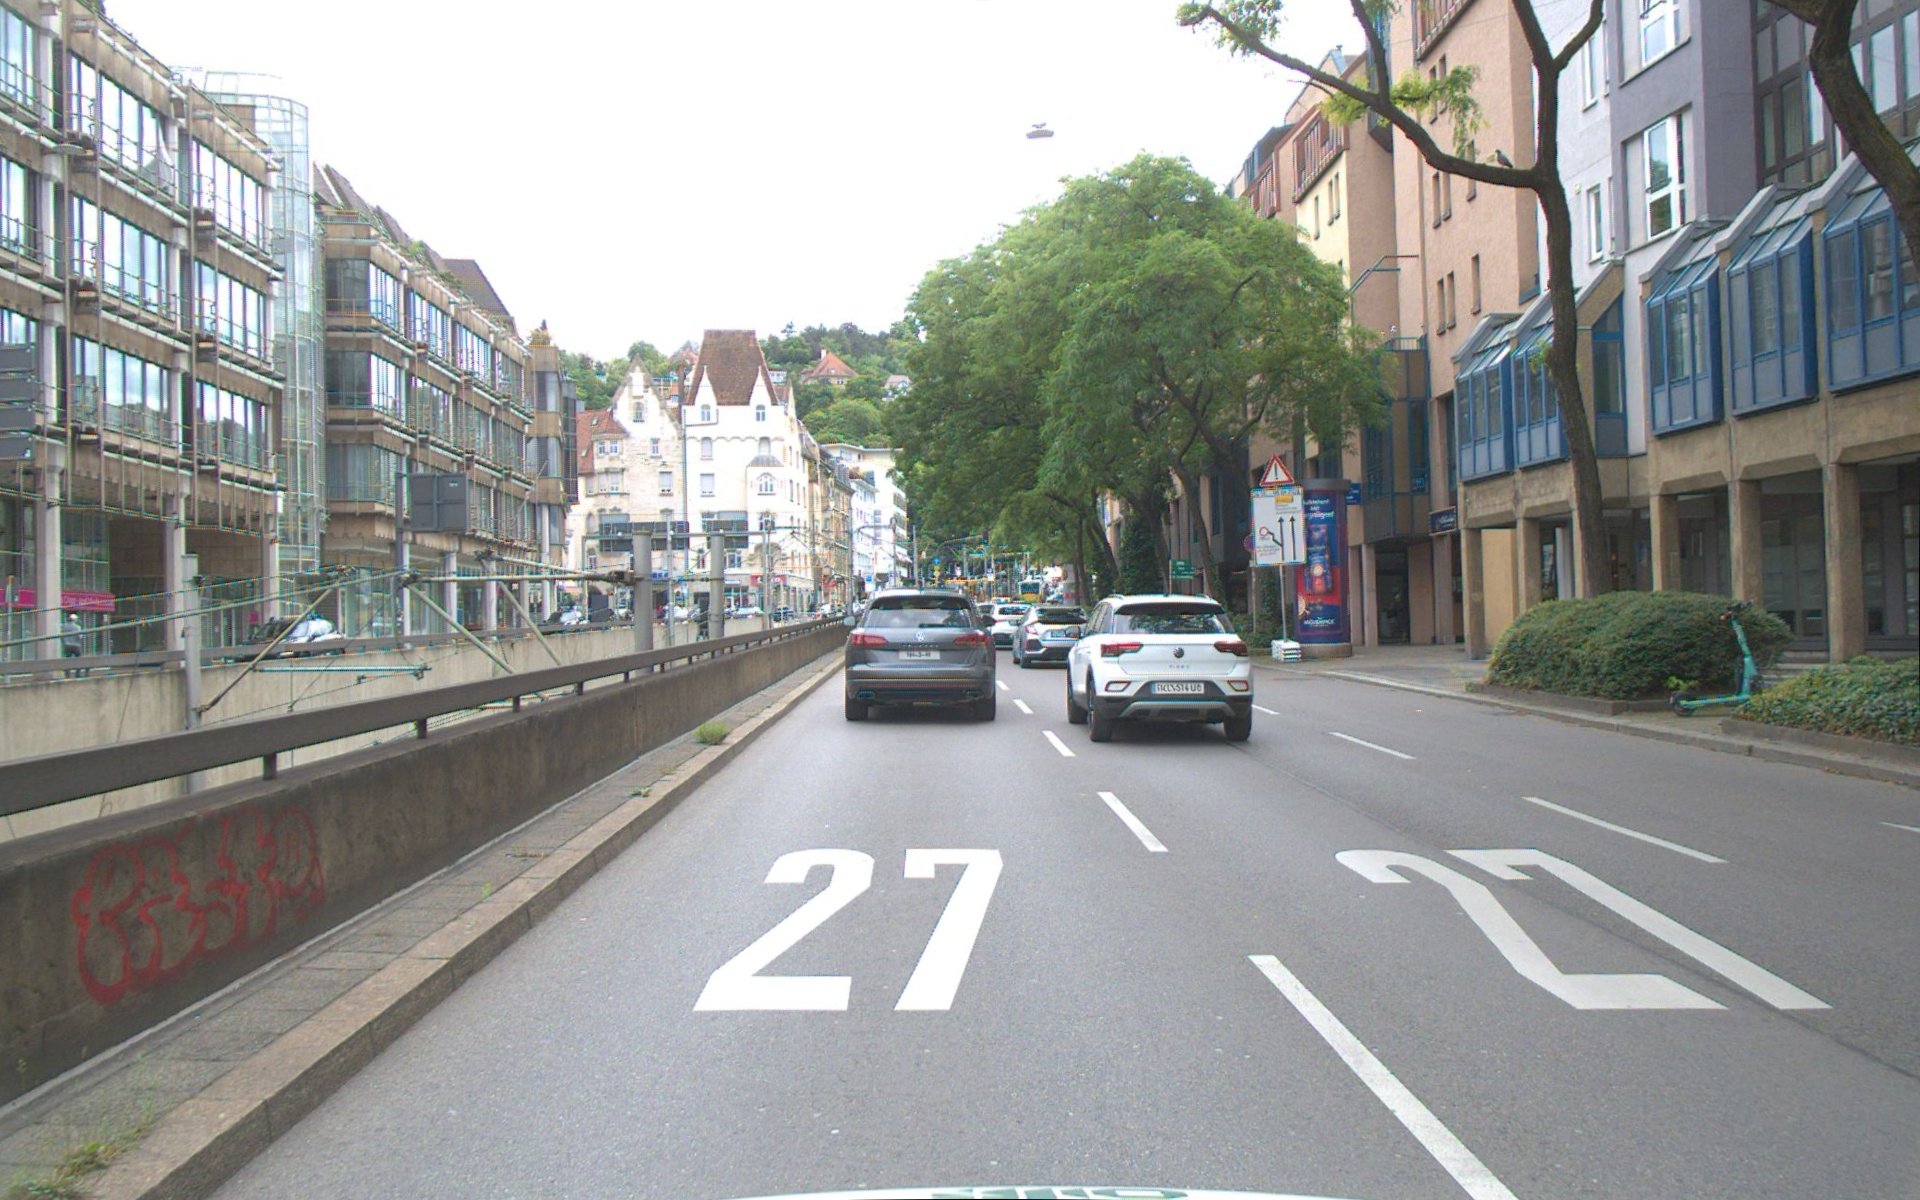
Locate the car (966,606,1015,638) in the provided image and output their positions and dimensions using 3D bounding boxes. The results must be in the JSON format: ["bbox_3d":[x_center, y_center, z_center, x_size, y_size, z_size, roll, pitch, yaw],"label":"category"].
[{"bbox_3d":[1.411,1.009,76.955,1.797,1.387,3.762,-3,0,-6],"label":"car"}]

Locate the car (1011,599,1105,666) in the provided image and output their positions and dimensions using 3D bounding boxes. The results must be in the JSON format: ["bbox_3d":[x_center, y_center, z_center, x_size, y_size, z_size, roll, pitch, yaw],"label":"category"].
[{"bbox_3d":[2.222,0.783,38.511,1.796,1.457,4.145,-1,-2,-2],"label":"car"}]

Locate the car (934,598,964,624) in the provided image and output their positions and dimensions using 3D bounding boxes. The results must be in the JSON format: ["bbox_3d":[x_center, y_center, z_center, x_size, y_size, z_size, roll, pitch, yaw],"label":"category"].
[{"bbox_3d":[-0.739,0.699,109.546,1.795,1.594,3.766,-3,0,-2],"label":"car"}]

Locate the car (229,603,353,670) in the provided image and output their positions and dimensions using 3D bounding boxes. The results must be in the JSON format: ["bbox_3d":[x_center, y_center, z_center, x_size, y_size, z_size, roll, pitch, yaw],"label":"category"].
[{"bbox_3d":[-19.614,1.036,48.706,1.953,1.798,4.279,-2,0,-1],"label":"car"}]

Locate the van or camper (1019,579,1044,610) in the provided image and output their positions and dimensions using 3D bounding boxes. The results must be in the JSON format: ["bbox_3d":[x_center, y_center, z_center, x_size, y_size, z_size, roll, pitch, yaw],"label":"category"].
[{"bbox_3d":[7.861,-0.592,180.938,2.572,3.234,5.806,-2,0,4],"label":"van or camper"}]

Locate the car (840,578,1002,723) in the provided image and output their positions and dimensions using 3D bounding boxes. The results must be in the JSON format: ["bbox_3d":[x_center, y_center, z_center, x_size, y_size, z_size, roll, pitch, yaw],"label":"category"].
[{"bbox_3d":[-0.490,0.584,22.193,1.930,1.725,4.224,-1,1,-1],"label":"car"}]

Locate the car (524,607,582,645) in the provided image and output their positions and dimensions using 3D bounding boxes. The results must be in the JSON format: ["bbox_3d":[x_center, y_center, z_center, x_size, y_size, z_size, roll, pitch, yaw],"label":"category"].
[{"bbox_3d":[-20.806,1.302,84.676,1.953,1.798,4.279,-2,0,-1],"label":"car"}]

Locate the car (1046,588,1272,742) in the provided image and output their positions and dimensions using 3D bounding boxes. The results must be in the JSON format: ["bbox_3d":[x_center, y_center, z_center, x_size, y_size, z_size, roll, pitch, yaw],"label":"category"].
[{"bbox_3d":[2.156,0.689,18.973,1.762,1.572,3.930,0,-1,-6],"label":"car"}]

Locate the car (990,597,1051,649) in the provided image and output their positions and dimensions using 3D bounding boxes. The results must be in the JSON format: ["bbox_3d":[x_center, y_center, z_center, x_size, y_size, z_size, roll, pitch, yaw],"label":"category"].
[{"bbox_3d":[1.952,0.732,54.523,1.795,1.544,3.767,-3,0,0],"label":"car"}]

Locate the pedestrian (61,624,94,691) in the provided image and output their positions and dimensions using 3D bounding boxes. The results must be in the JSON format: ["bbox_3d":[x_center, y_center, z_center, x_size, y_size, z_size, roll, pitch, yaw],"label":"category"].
[{"bbox_3d":[-24.611,1.599,46.129,0.521,1.824,0.694,-2,0,-1],"label":"pedestrian"}]

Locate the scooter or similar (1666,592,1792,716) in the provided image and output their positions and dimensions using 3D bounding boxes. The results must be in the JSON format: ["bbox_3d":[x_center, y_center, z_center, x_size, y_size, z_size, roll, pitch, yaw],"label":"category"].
[{"bbox_3d":[8.624,0.599,18.573,1.137,1.307,0.426,-4,0,8],"label":"scooter or similar"}]

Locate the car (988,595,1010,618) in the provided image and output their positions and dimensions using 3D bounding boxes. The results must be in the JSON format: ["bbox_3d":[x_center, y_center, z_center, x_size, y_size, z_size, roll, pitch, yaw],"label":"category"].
[{"bbox_3d":[3.461,0.562,147.259,1.795,1.907,4.870,-3,0,0],"label":"car"}]

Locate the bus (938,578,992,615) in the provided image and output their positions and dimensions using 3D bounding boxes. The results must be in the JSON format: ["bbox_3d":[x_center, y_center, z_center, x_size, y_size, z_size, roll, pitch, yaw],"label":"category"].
[{"bbox_3d":[0.675,-0.380,171.537,3.768,3.593,17.257,-2,0,6],"label":"bus"}]
